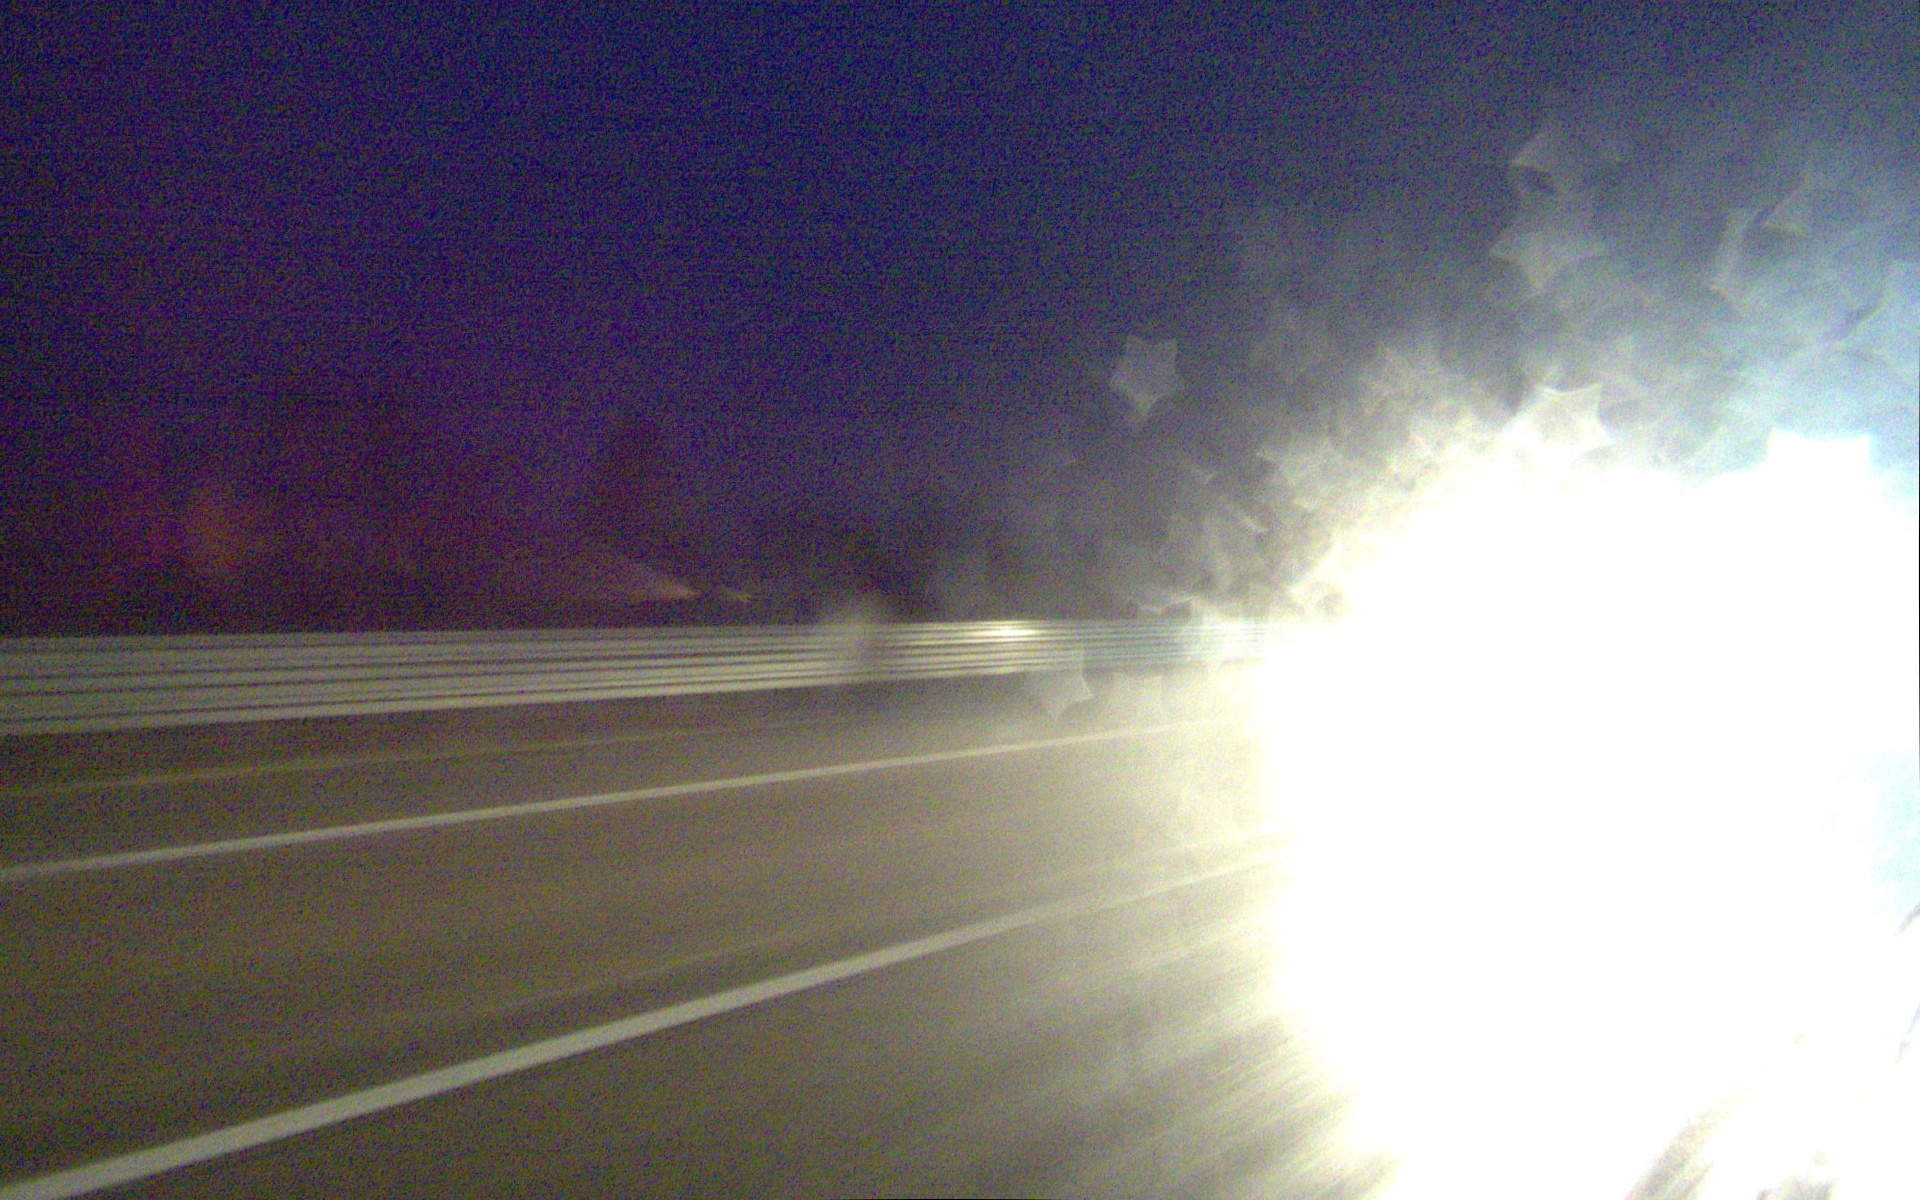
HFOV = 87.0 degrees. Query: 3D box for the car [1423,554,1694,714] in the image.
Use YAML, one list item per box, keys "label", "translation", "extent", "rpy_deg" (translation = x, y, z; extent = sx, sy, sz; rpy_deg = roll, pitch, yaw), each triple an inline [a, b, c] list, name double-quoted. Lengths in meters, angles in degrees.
- label: "car"
  translation: [8.433, 0.413, 14.084]
  extent: [4.615, 1.870, 1.831]
  rpy_deg: [0, -1, -40]
